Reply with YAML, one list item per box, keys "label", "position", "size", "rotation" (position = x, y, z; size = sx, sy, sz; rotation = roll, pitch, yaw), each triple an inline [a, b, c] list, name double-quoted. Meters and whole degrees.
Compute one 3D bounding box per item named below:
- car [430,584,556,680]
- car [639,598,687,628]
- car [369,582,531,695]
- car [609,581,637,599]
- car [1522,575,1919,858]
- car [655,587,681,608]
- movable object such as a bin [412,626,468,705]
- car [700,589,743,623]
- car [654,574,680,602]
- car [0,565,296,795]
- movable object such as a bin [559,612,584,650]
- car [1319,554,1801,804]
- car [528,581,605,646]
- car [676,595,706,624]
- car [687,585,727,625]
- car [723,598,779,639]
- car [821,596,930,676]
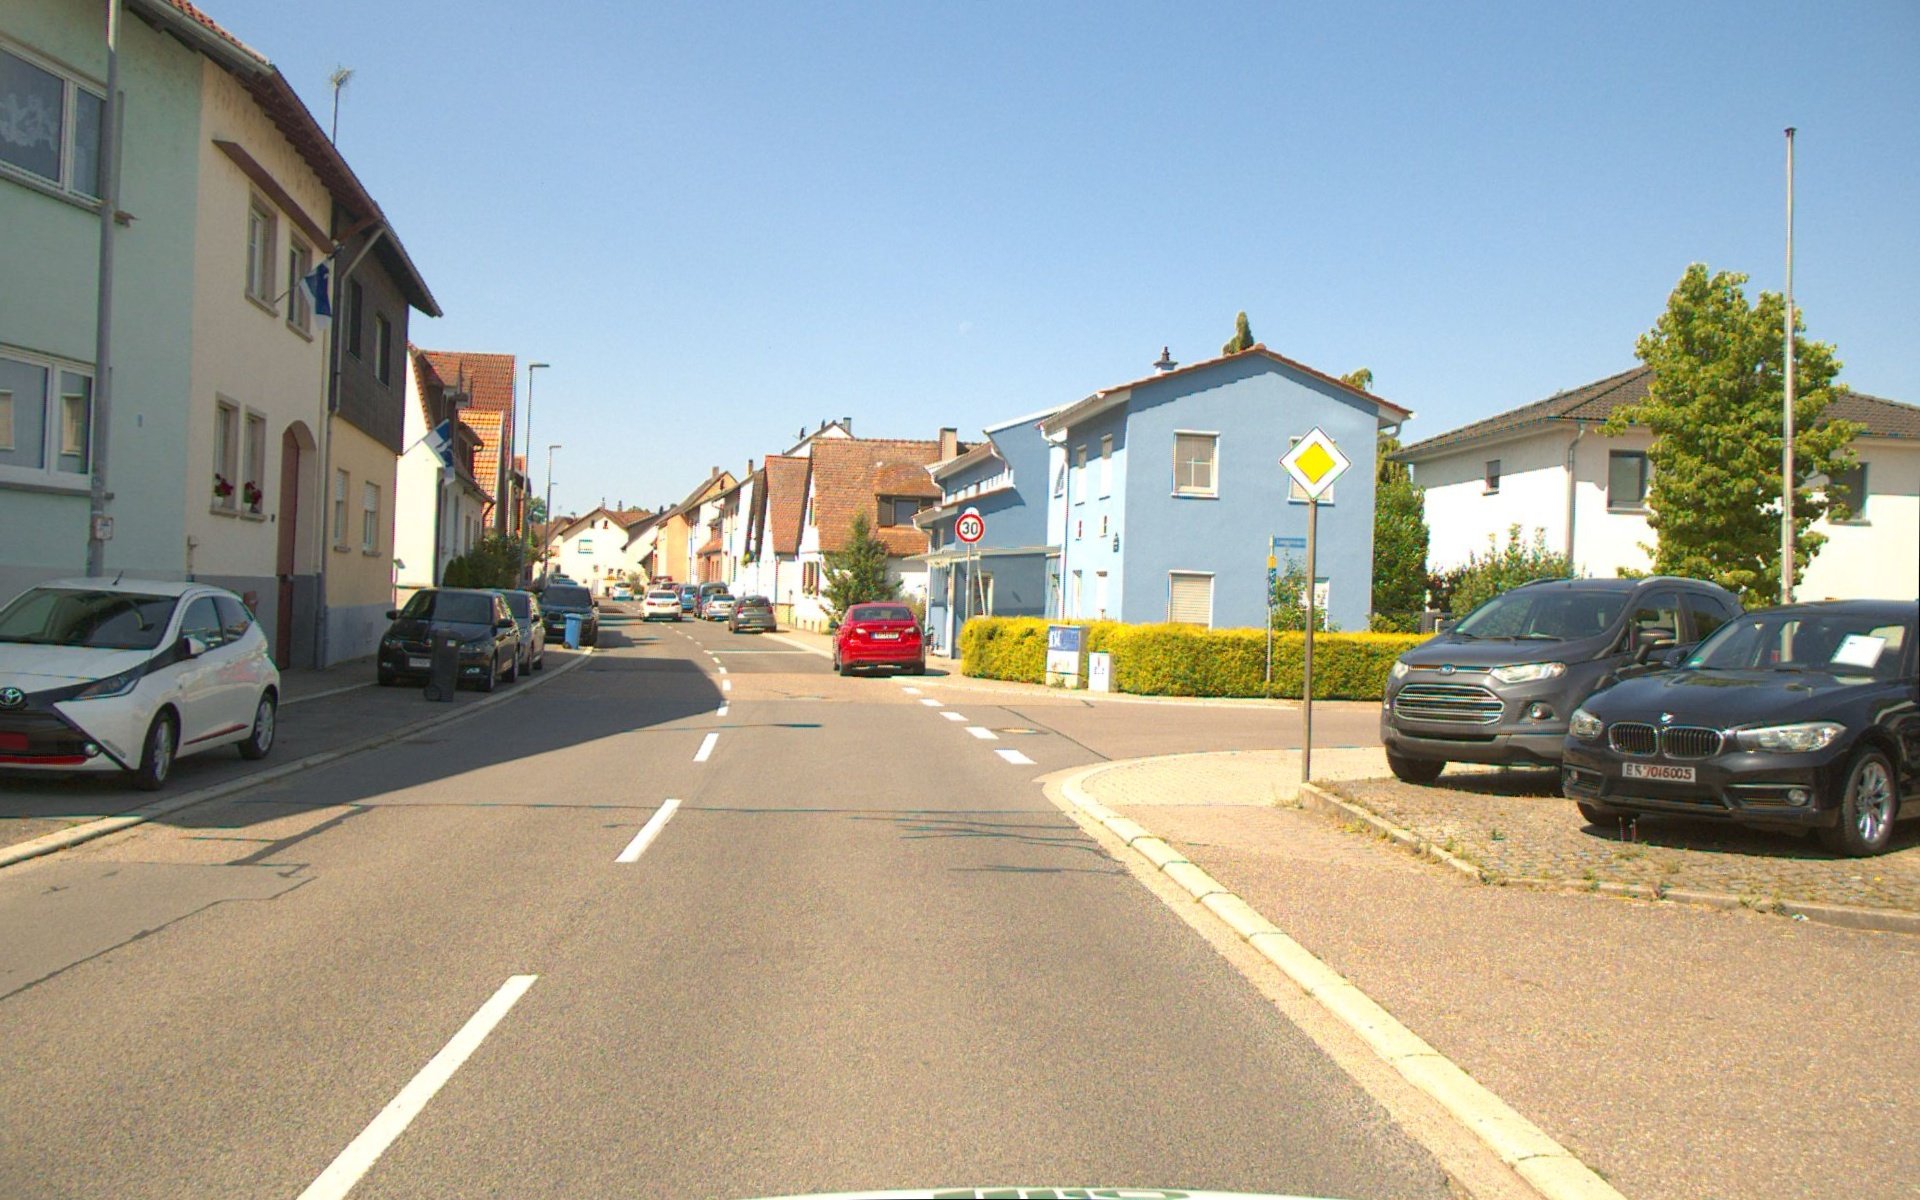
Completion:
- label: "car"
  position: [-8.571, 0.568, 30.617]
  size: [1.610, 1.527, 3.774]
  rotation: [6, -1, -8]
- label: "car"
  position: [-14.147, 0.617, 78.550]
  size: [1.960, 1.311, 3.985]
  rotation: [2, -1, -14]
- label: "car"
  position: [-7.767, 0.560, 25.522]
  size: [1.647, 1.462, 3.988]
  rotation: [6, -1, -8]
- label: "car"
  position: [-27.138, -0.782, 133.156]
  size: [1.960, 1.311, 3.790]
  rotation: [2, -1, -14]
- label: "car"
  position: [5.449, 0.653, 10.520]
  size: [3.833, 1.472, 1.728]
  rotation: [2, 0, -38]
- label: "car"
  position: [-21.650, -0.168, 122.523]
  size: [1.736, 1.458, 3.438]
  rotation: [2, -1, -13]
- label: "movable object such as a bin"
  position: [-6.836, 0.850, 21.768]
  size: [0.542, 0.944, 0.822]
  rotation: [7, -1, -14]
- label: "car"
  position: [-11.783, 0.284, 81.733]
  size: [1.676, 1.523, 3.439]
  rotation: [4, -1, -14]
- label: "car"
  position: [-22.557, -0.898, 127.128]
  size: [1.736, 2.039, 3.438]
  rotation: [2, -1, -13]
- label: "car"
  position: [-6.566, 0.525, 12.762]
  size: [1.651, 1.487, 3.644]
  rotation: [3, -1, -6]
- label: "movable object such as a bin"
  position: [-10.484, 0.834, 44.633]
  size: [0.586, 0.999, 0.529]
  rotation: [4, -1, -12]
- label: "car"
  position: [4.866, 0.569, 13.166]
  size: [4.075, 1.682, 1.805]
  rotation: [2, 0, -40]
- label: "car"
  position: [-11.673, 0.388, 49.299]
  size: [1.886, 1.696, 4.653]
  rotation: [5, -1, -11]
- label: "car"
  position: [-15.815, 0.552, 97.184]
  size: [1.396, 1.541, 3.291]
  rotation: [4, -1, -14]
- label: "car"
  position: [-13.242, 0.231, 86.427]
  size: [1.622, 1.943, 3.612]
  rotation: [4, -1, -14]
- label: "car"
  position: [-8.303, 0.699, 65.439]
  size: [1.676, 1.458, 3.875]
  rotation: [4, -1, -14]
- label: "car"
  position: [-1.811, 0.706, 34.300]
  size: [1.701, 1.520, 4.344]
  rotation: [1, 0, -10]
